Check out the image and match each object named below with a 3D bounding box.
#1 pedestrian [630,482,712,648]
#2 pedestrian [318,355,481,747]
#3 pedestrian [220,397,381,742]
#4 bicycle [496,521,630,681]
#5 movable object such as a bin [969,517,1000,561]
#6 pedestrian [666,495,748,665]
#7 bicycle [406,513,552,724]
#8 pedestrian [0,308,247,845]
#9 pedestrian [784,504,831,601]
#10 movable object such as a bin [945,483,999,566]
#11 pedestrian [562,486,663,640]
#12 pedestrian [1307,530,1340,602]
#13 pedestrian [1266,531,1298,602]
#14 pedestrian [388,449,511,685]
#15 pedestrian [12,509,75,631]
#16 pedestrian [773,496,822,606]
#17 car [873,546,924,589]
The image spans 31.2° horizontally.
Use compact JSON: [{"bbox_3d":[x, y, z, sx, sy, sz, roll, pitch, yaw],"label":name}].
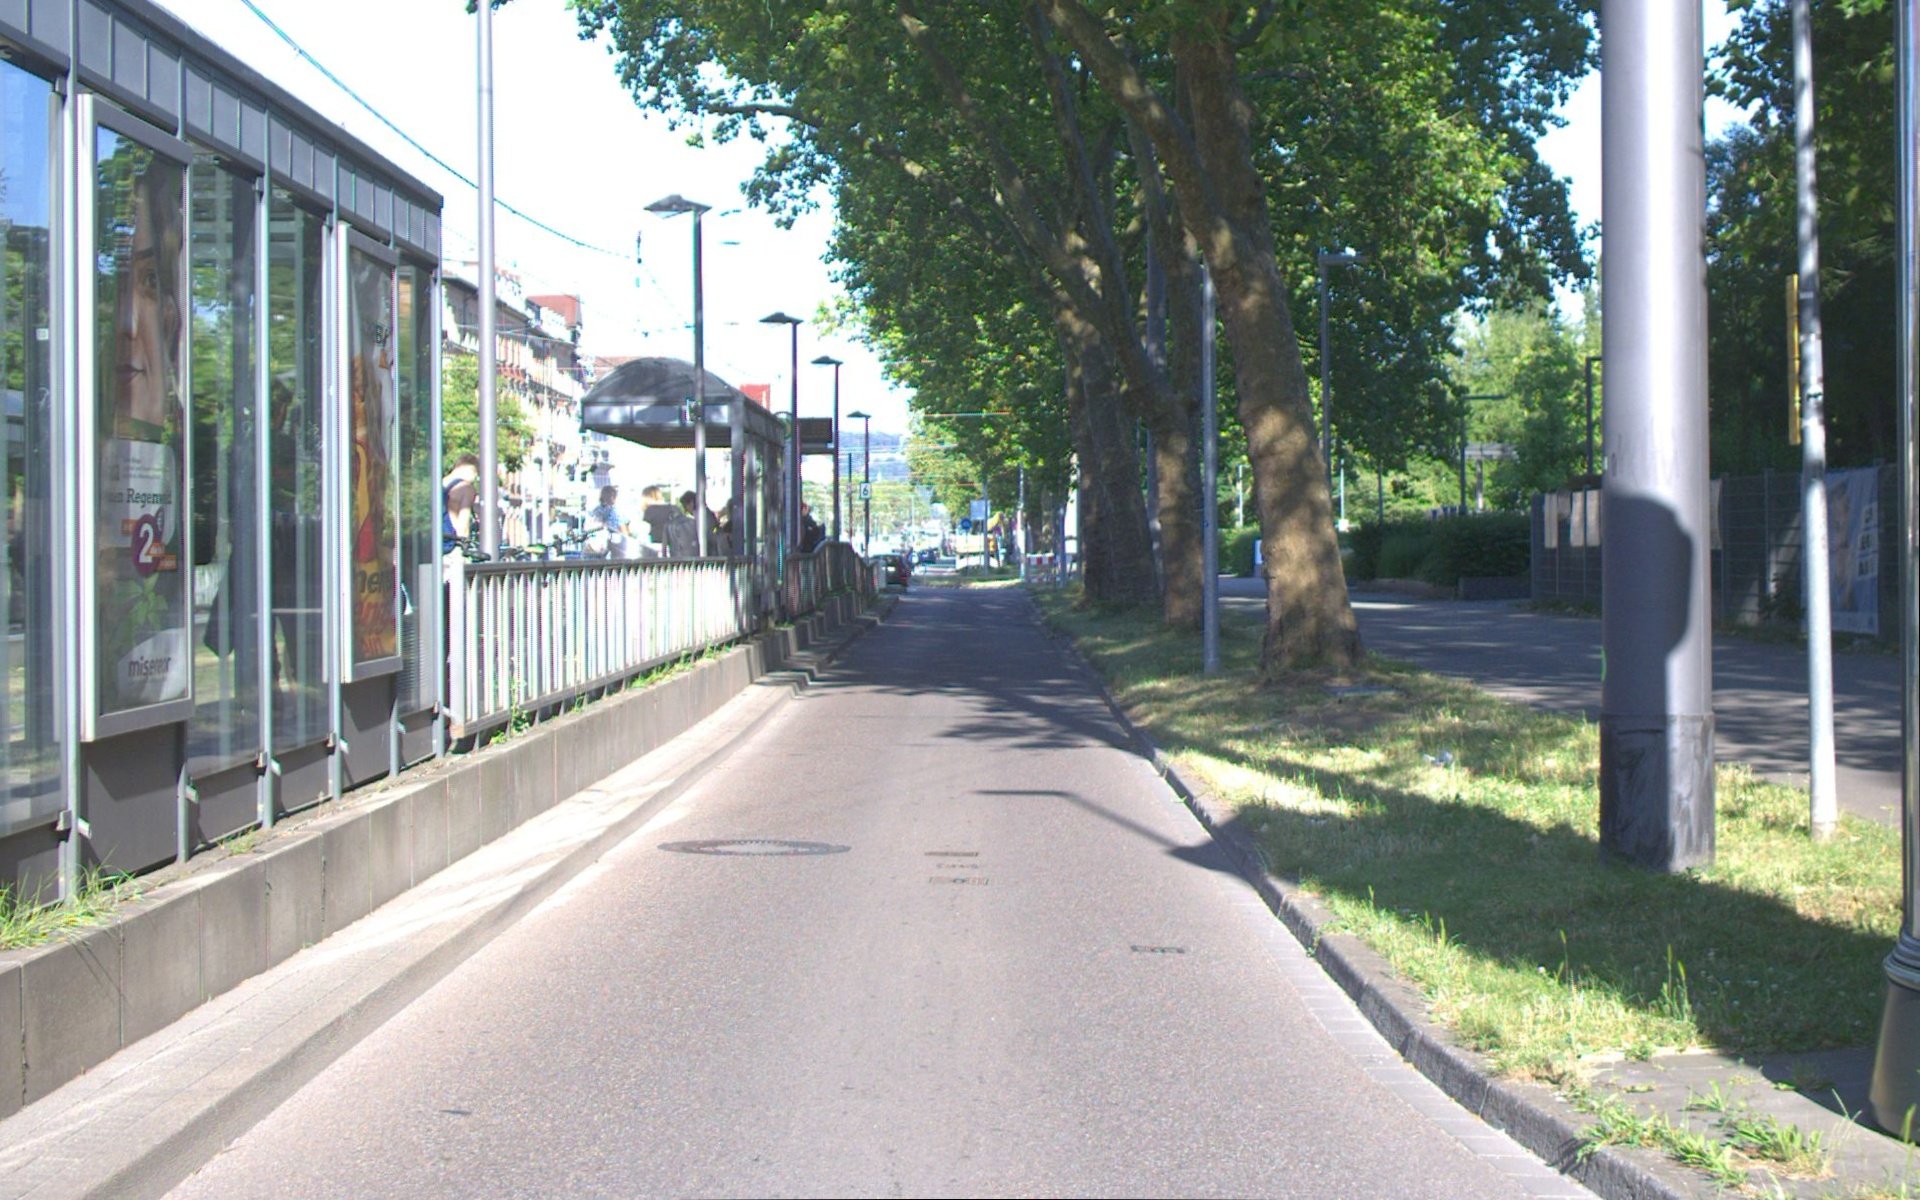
[{"bbox_3d":[-2.767,-0.340,32.943,0.678,1.556,0.851,2,1,0],"label":"pedestrian"},{"bbox_3d":[-2.919,-0.255,17.957,0.599,1.989,0.824,2,1,6],"label":"pedestrian"},{"bbox_3d":[-3.529,-0.168,18.436,0.599,1.794,0.824,2,1,6],"label":"pedestrian"},{"bbox_3d":[-2.941,-0.010,25.653,0.737,1.129,2.031,2,1,0],"label":"bicycle"},{"bbox_3d":[1.693,-4.323,243.119,1.968,3.003,4.797,-3,1,0],"label":"movable object such as a bin"},{"bbox_3d":[-2.666,-0.213,36.276,0.765,1.752,0.695,1,1,0],"label":"pedestrian"},{"bbox_3d":[-2.729,0.083,19.677,0.513,1.129,2.104,2,1,0],"label":"bicycle"},{"bbox_3d":[-3.067,-0.090,12.662,0.669,1.896,0.824,1,1,-1],"label":"pedestrian"},{"bbox_3d":[-2.701,-0.844,60.784,0.757,1.684,0.678,2,1,0],"label":"pedestrian"},{"bbox_3d":[0.740,-4.815,220.952,3.087,5.071,8.892,-3,1,0],"label":"movable object such as a bin"},{"bbox_3d":[-3.936,-0.420,38.967,0.907,1.716,0.631,1,1,-33],"label":"pedestrian"},{"bbox_3d":[8.494,-0.786,80.277,0.650,1.651,0.783,-2,1,0],"label":"pedestrian"},{"bbox_3d":[7.521,-0.782,80.372,0.627,1.651,0.740,-2,1,0],"label":"pedestrian"},{"bbox_3d":[-3.912,-0.256,26.379,0.785,1.764,0.773,2,1,0],"label":"pedestrian"},{"bbox_3d":[-12.827,-0.425,48.111,0.679,1.684,0.654,1,1,-2],"label":"pedestrian"},{"bbox_3d":[-2.529,-0.759,53.657,0.679,1.684,0.894,2,1,0],"label":"pedestrian"},{"bbox_3d":[-2.519,-1.364,142.406,1.993,1.678,4.000,2,1,0],"label":"car"}]
